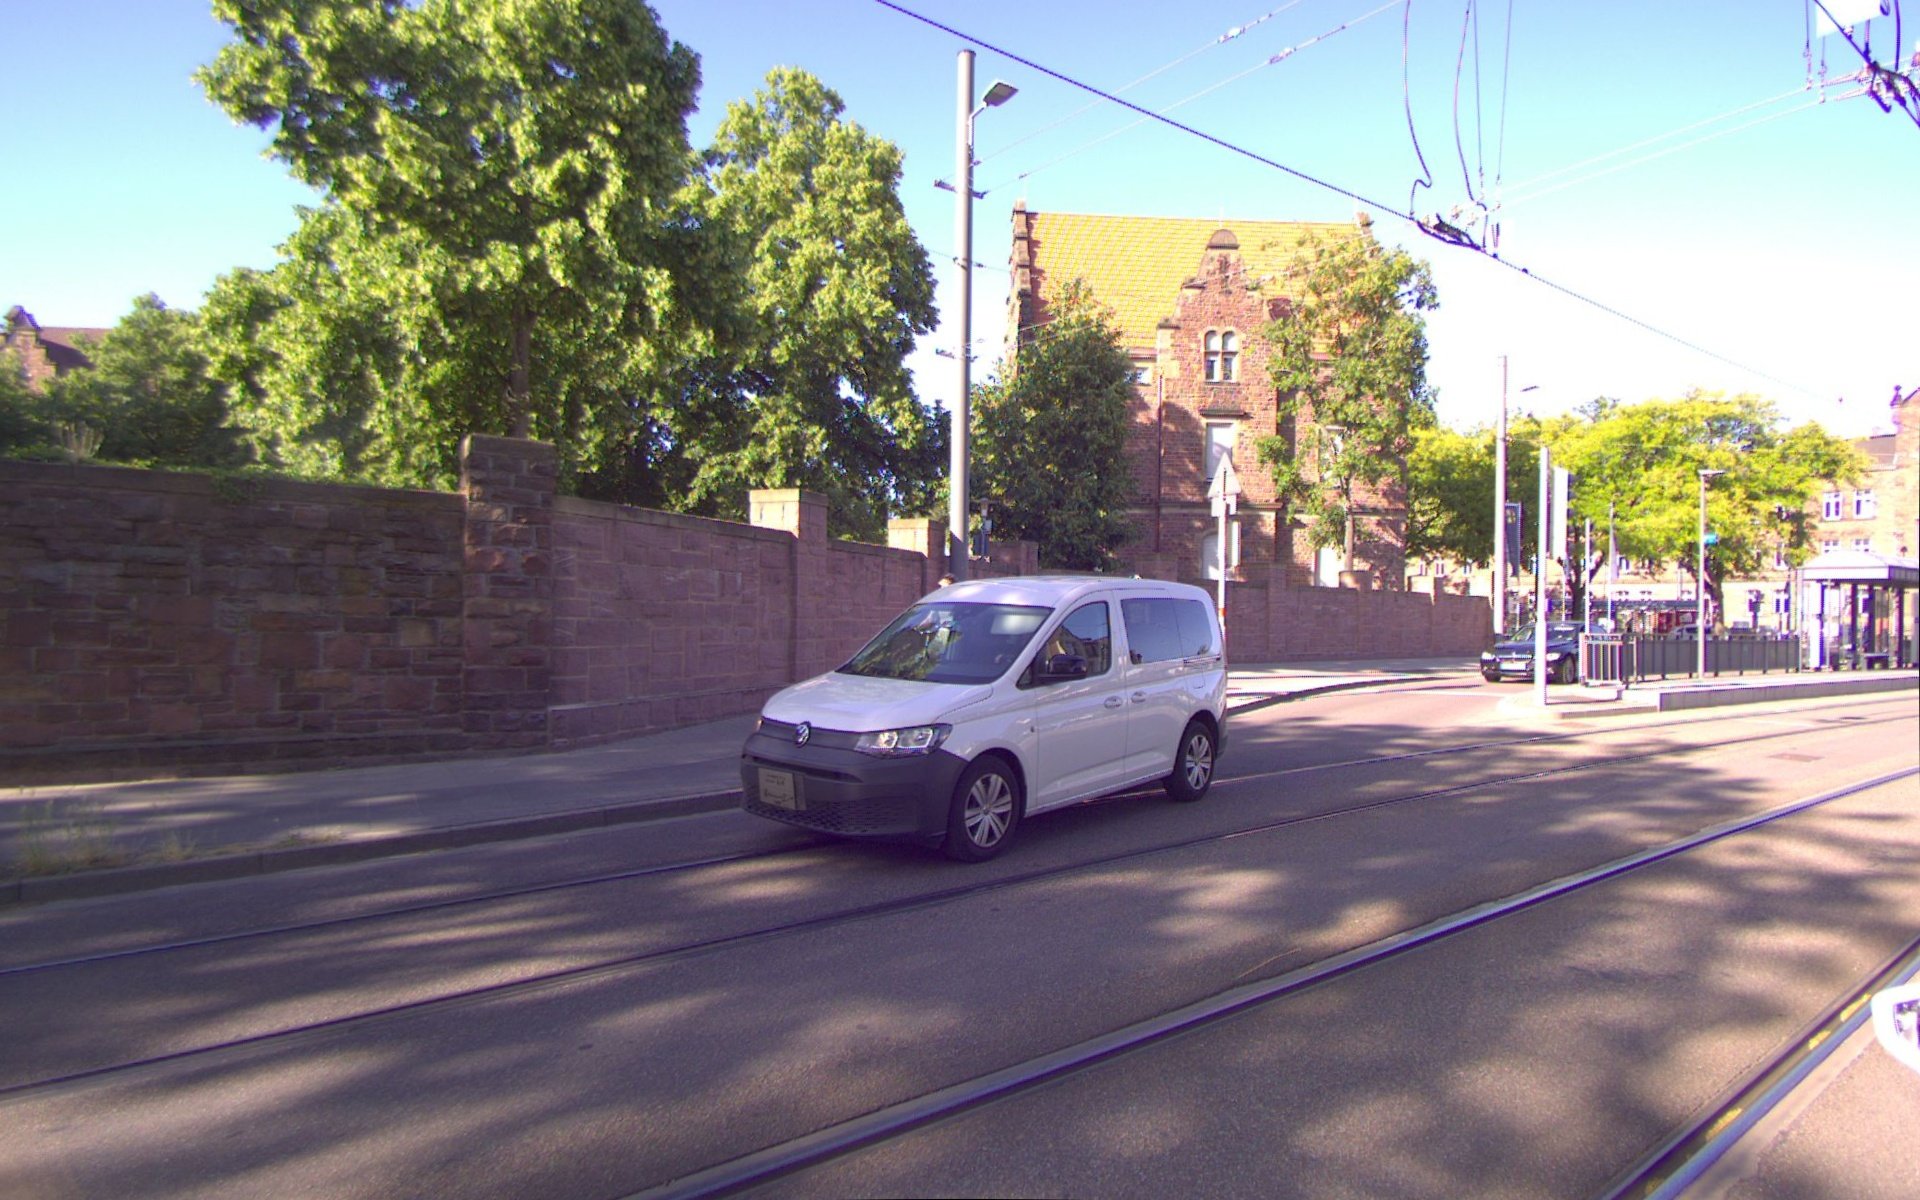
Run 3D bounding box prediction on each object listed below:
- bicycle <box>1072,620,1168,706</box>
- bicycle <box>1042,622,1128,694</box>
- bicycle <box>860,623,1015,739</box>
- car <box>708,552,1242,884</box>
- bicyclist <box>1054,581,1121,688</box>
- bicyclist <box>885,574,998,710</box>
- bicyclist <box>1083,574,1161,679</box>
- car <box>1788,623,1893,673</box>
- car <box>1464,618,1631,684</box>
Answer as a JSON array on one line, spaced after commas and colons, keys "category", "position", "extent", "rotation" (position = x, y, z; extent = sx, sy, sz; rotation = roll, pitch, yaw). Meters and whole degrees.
[{"category": "bicycle", "position": [2.542, 0.943, 15.737], "extent": [0.766, 1.247, 2.084], "rotation": [1, -1, 31]}, {"category": "bicycle", "position": [2.123, 0.931, 16.796], "extent": [0.659, 1.087, 2.010], "rotation": [2, 1, 31]}, {"category": "bicycle", "position": [-0.223, 0.893, 11.776], "extent": [0.804, 1.214, 1.946], "rotation": [2, 0, 35]}, {"category": "car", "position": [0.391, 0.696, 7.691], "extent": [1.805, 1.811, 4.234], "rotation": [0, -1, 40]}, {"category": "bicyclist", "position": [2.135, 0.540, 16.764], "extent": [0.641, 1.697, 1.230], "rotation": [2, 2, 31]}, {"category": "bicyclist", "position": [-0.204, 0.469, 11.783], "extent": [0.746, 1.490, 1.187], "rotation": [2, 0, 35]}, {"category": "bicyclist", "position": [2.556, 0.406, 15.748], "extent": [0.749, 1.557, 1.345], "rotation": [1, -1, 31]}, {"category": "car", "position": [31.287, 1.691, 35.655], "extent": [4.284, 1.638, 1.815], "rotation": [2, -1, -35]}, {"category": "car", "position": [13.822, 1.149, 23.555], "extent": [4.453, 1.400, 1.785], "rotation": [0, -2, -37]}]
